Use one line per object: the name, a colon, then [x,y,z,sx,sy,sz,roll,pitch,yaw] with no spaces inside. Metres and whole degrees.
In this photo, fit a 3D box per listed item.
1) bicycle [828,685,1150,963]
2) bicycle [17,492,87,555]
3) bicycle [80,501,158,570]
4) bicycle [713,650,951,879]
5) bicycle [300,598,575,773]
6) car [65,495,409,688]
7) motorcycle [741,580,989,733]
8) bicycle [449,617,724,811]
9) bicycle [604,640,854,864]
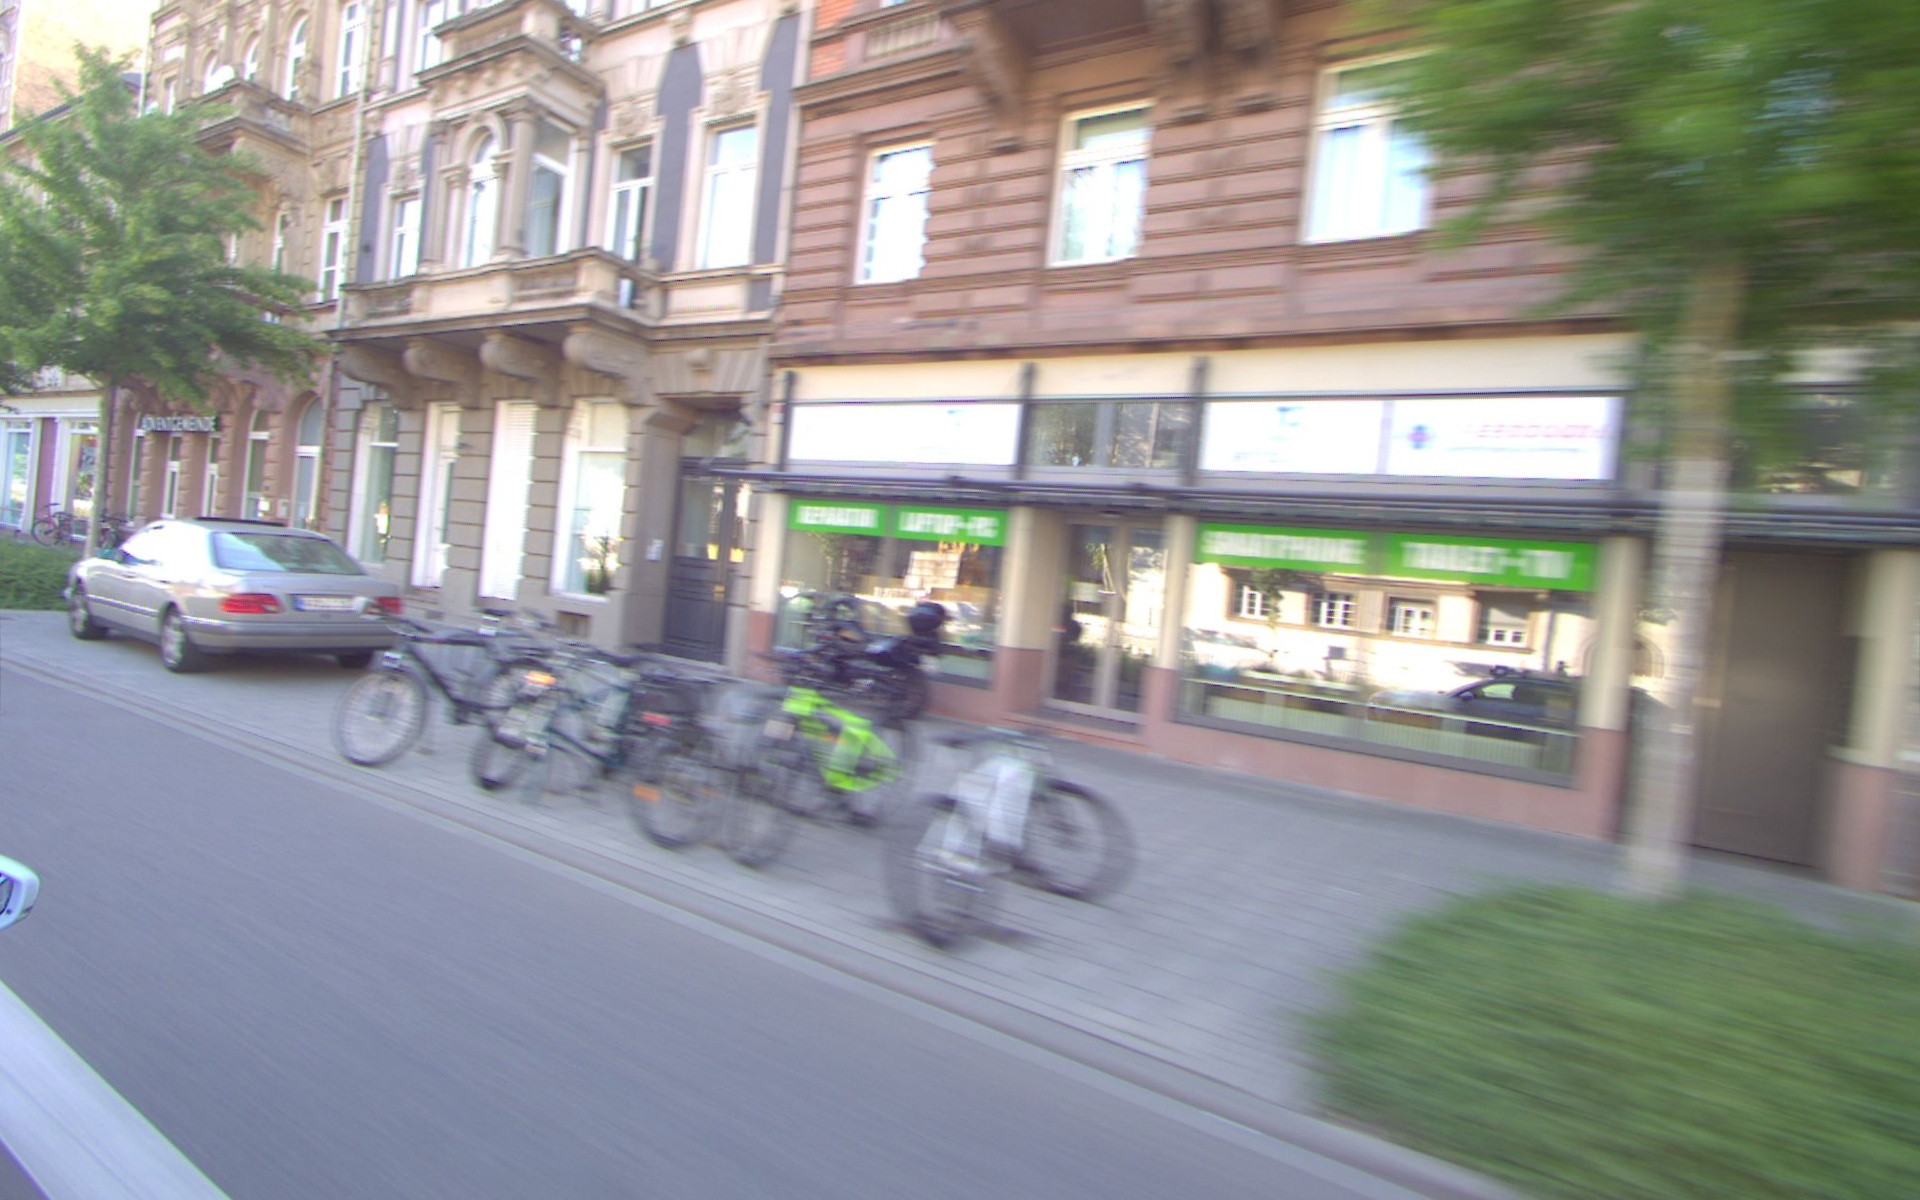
bicycle: [0.195,0.967,4.772,1.570,1.062,0.483,4,2,-45]
bicycle: [-24.147,-2.045,26.740,2.313,1.420,0.661,7,1,32]
bicycle: [-20.444,-1.571,24.431,2.313,1.420,0.661,7,1,32]
bicycle: [-0.673,0.869,5.901,0.481,1.062,1.694,7,2,24]
bicycle: [-3.642,0.551,7.155,0.481,1.062,1.690,7,3,32]
car: [-7.775,-0.162,10.685,4.144,1.506,1.636,7,3,35]
motorcycle: [-1.136,0.583,11.458,2.805,1.326,0.795,7,3,32]
bicycle: [-2.362,0.666,6.561,0.481,1.062,1.690,7,3,32]
bicycle: [-1.273,0.800,5.872,0.481,1.062,1.579,7,2,24]
